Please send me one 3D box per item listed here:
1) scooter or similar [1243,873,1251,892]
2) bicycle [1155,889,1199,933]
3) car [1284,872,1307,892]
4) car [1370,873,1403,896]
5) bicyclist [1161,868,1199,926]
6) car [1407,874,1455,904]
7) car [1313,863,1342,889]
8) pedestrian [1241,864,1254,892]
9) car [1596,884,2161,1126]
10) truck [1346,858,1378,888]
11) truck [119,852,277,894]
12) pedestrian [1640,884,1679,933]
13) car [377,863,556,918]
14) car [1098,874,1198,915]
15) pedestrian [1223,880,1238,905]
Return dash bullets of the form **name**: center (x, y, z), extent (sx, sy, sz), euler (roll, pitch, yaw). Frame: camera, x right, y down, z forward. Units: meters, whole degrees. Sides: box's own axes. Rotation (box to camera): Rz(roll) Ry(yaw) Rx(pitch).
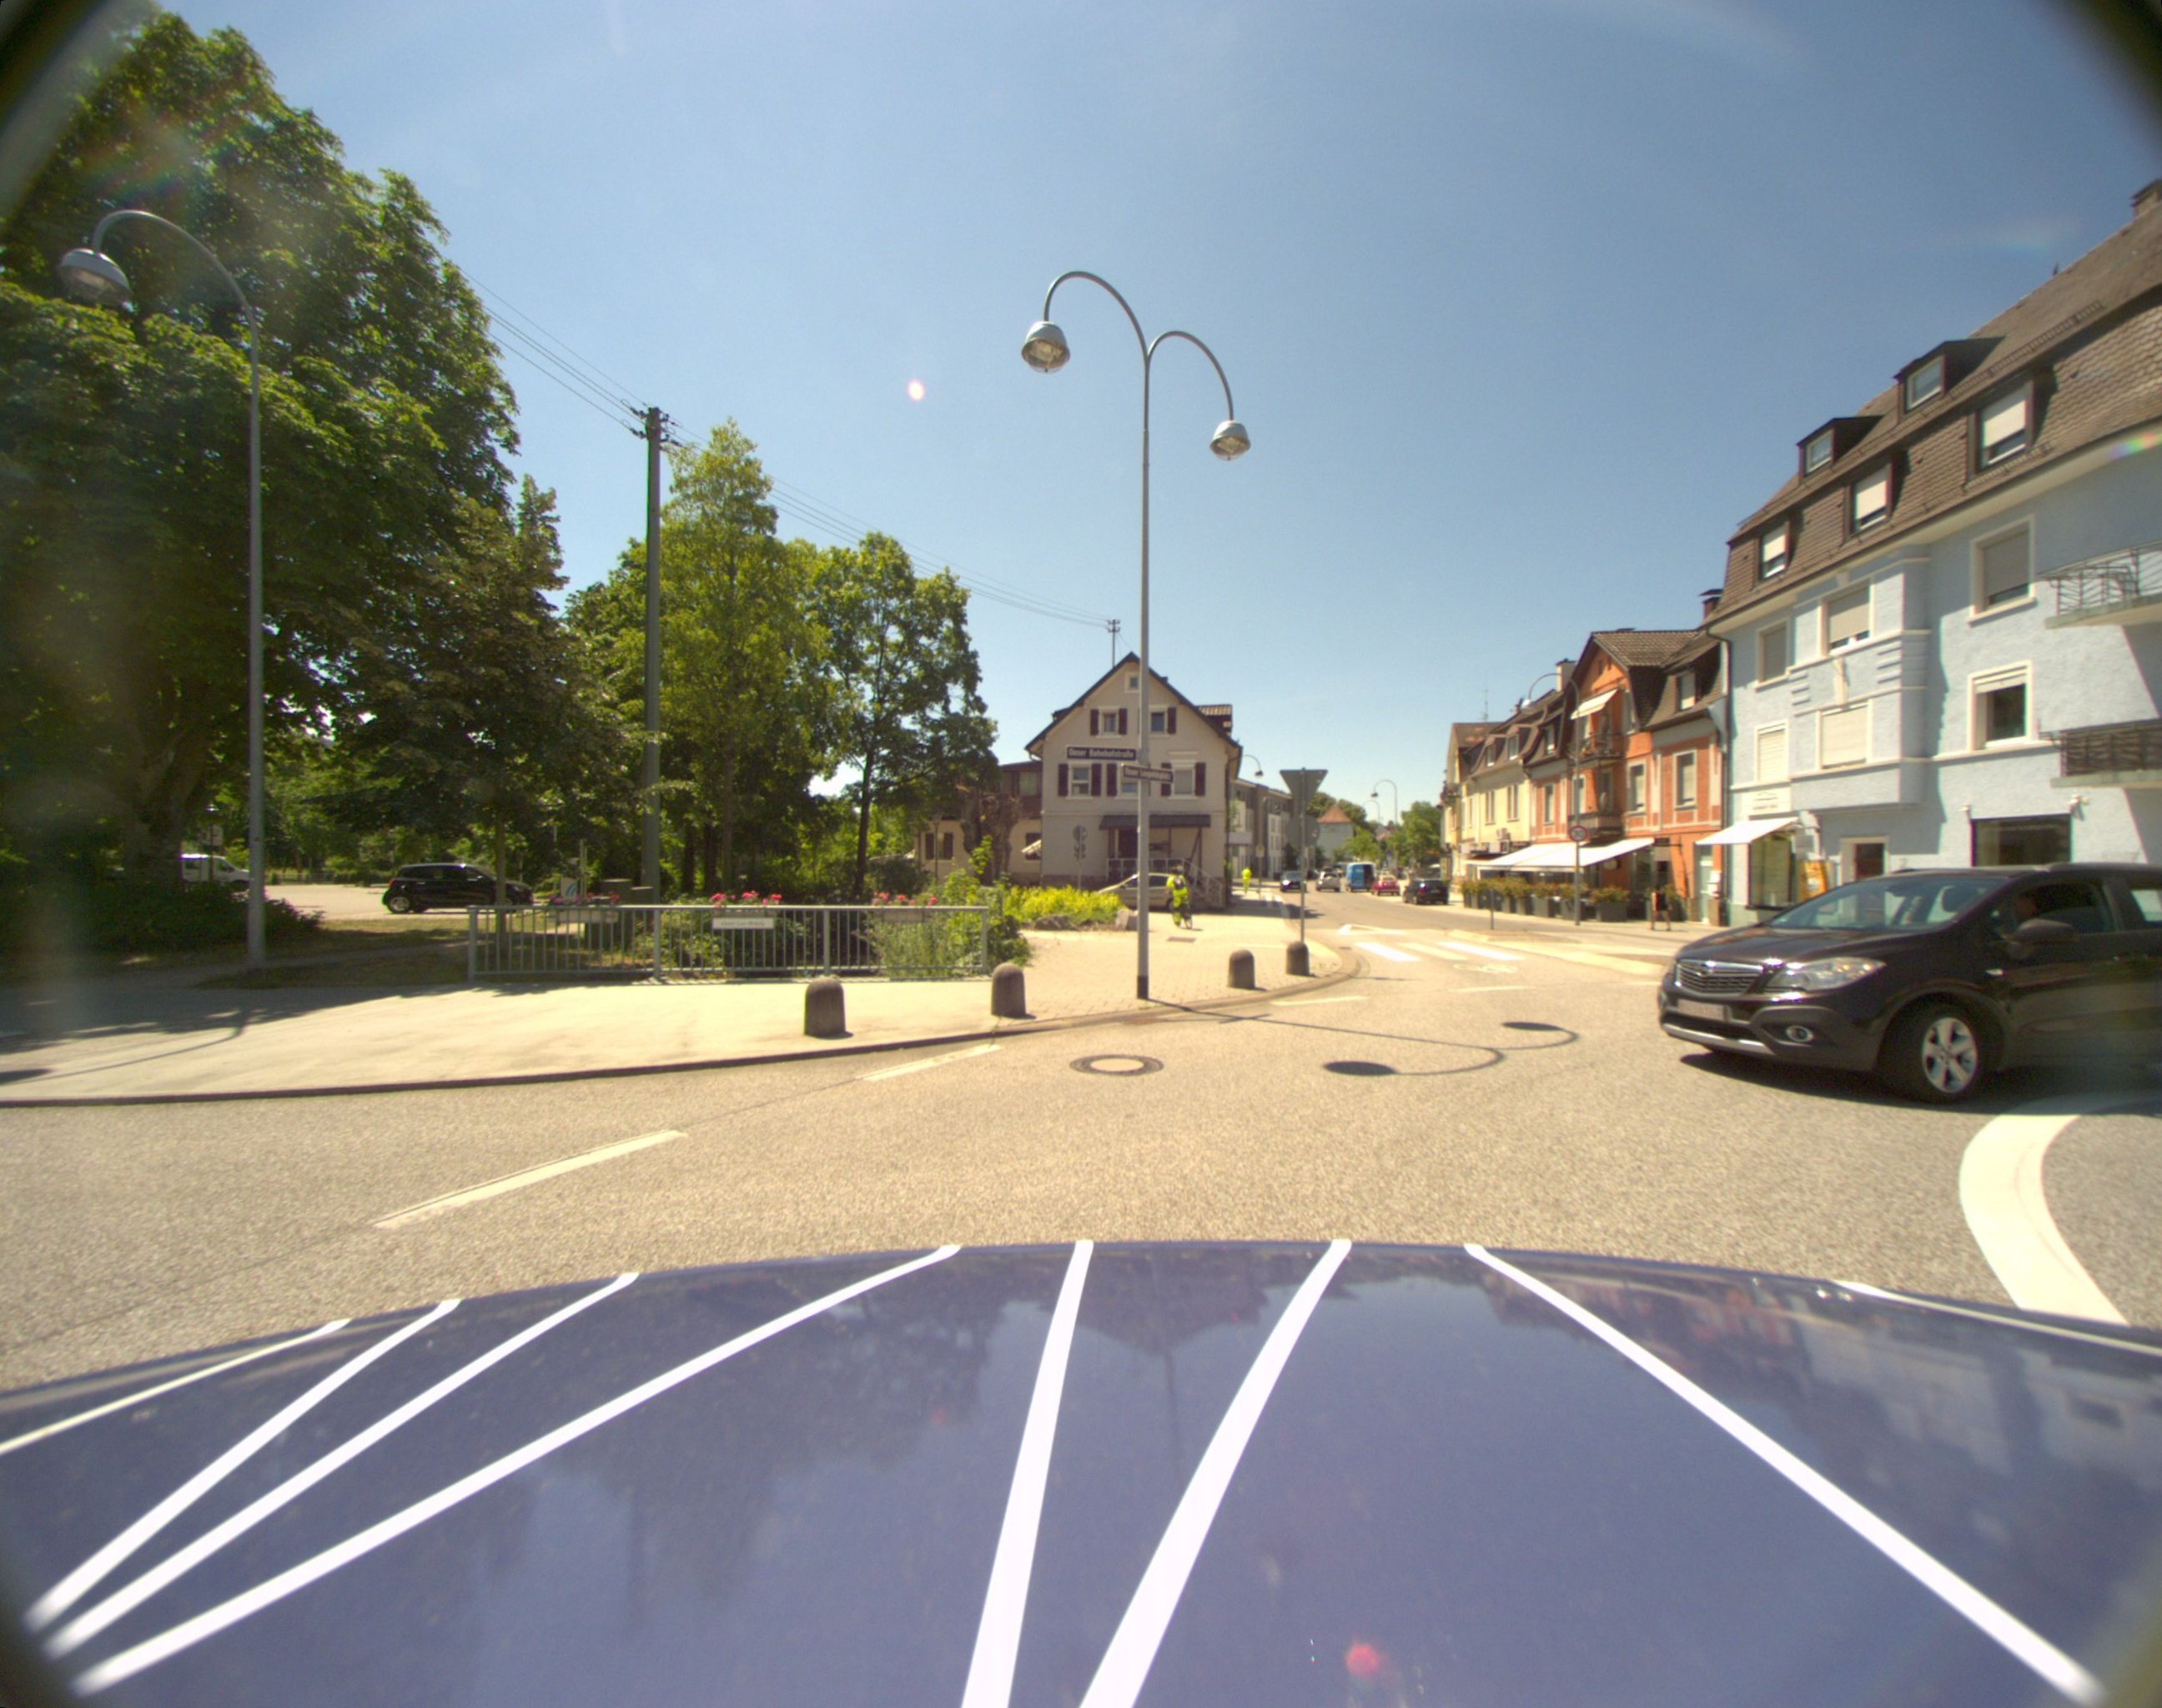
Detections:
- **scooter or similar**: center (12.132, 2.059, 55.359), extent (0.526, 1.365, 1.349), euler (1, 0, 14)
- **bicycle**: center (2.865, 1.684, 22.799), extent (0.811, 1.149, 1.851), euler (3, -1, -7)
- **car**: center (17.657, 2.312, 62.639), extent (1.751, 1.537, 3.598), euler (-1, -1, 15)
- **car**: center (22.553, 2.214, 56.191), extent (1.680, 1.537, 3.598), euler (-1, -1, 14)
- **bicyclist**: center (2.918, 1.269, 22.581), extent (0.810, 1.625, 1.062), euler (3, -1, -6)
- **car**: center (19.685, 1.923, 42.863), extent (1.680, 1.537, 3.951), euler (-1, -1, 14)
- **car**: center (20.967, 1.827, 64.722), extent (1.927, 2.095, 4.455), euler (2, 0, 13)
- **pedestrian**: center (12.155, 1.715, 55.447), extent (0.919, 2.018, 0.901), euler (1, 0, 13)
- **car**: center (6.808, 1.025, 5.962), extent (4.163, 1.552, 2.001), euler (0, -2, 1)
- **truck**: center (23.701, 1.567, 64.198), extent (1.958, 2.355, 4.342), euler (-1, -1, 14)
- **truck**: center (-54.081, 1.166, 46.715), extent (2.259, 2.428, 6.232), euler (-3, -2, 40)
- **pedestrian**: center (18.444, 1.718, 24.232), extent (0.627, 1.515, 0.804), euler (-2, -1, 8)
- **car**: center (-19.106, 1.105, 23.872), extent (4.005, 1.592, 1.839), euler (1, 0, -23)
- **car**: center (2.887, 1.682, 32.345), extent (3.993, 1.586, 1.797), euler (1, -1, 12)
- **pedestrian**: center (7.587, 1.948, 38.512), extent (0.684, 1.278, 0.581), euler (1, 0, 7)
